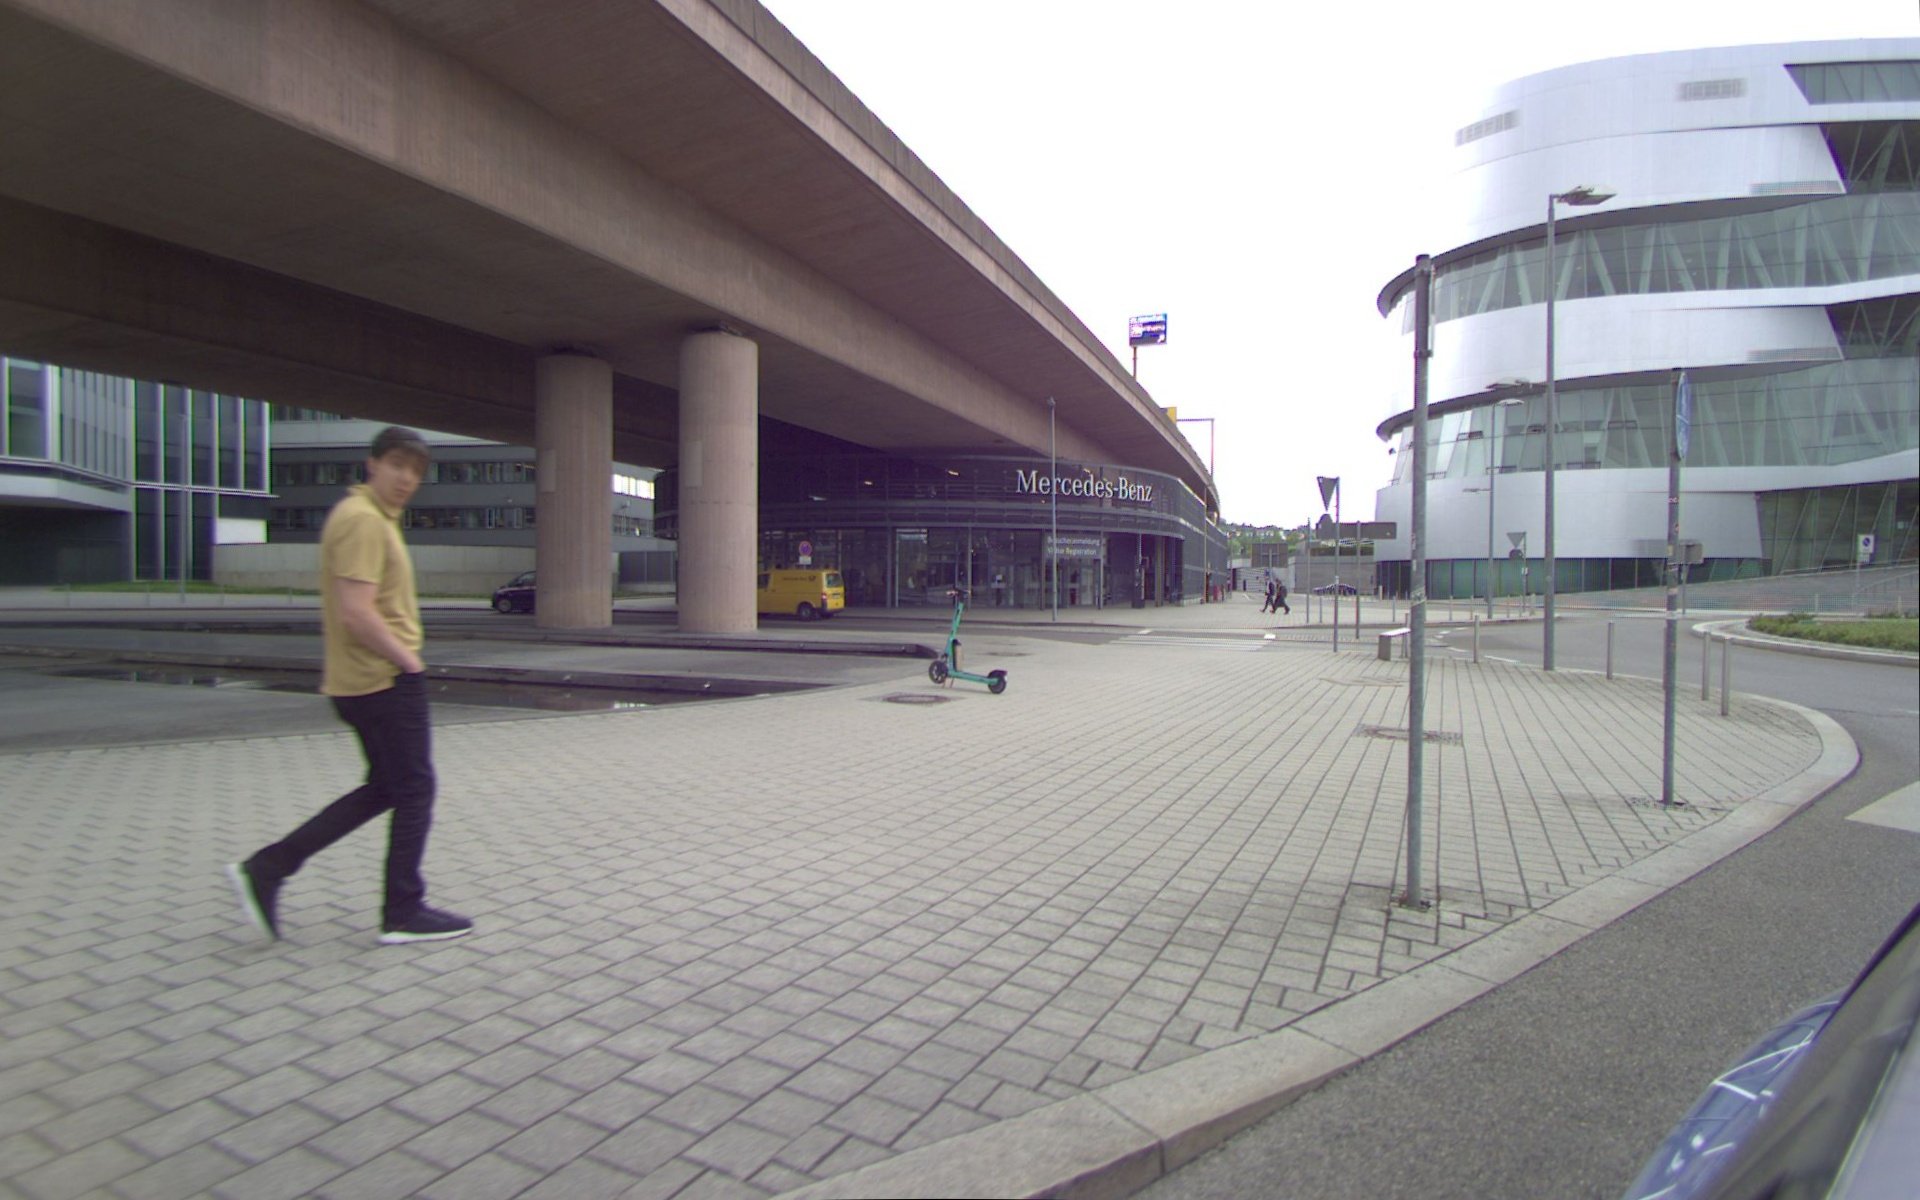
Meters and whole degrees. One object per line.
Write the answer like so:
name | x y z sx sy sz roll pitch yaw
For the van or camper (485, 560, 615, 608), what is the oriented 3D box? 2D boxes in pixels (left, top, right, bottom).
van or camper | -17.401 -0.688 42.984 4.832 1.917 2.143 1 0 16

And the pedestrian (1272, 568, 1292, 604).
pedestrian | 15.736 -0.665 49.436 0.759 1.726 0.786 1 0 5

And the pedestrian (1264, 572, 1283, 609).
pedestrian | 15.615 -0.472 50.430 0.770 1.821 0.863 1 0 8

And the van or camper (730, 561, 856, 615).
van or camper | -6.695 -0.473 40.735 4.450 2.024 2.346 1 0 21

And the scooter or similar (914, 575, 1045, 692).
scooter or similar | 0.217 0.374 12.348 1.643 1.312 0.510 3 1 42

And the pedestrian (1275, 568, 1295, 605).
pedestrian | 15.571 -0.642 48.492 0.759 1.726 0.864 1 0 7

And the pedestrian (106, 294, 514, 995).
pedestrian | -2.137 0.131 3.500 1.018 2.039 0.786 1 0 -22

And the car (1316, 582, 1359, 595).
car | 46.524 -1.416 124.920 4.840 1.416 1.527 1 0 17
